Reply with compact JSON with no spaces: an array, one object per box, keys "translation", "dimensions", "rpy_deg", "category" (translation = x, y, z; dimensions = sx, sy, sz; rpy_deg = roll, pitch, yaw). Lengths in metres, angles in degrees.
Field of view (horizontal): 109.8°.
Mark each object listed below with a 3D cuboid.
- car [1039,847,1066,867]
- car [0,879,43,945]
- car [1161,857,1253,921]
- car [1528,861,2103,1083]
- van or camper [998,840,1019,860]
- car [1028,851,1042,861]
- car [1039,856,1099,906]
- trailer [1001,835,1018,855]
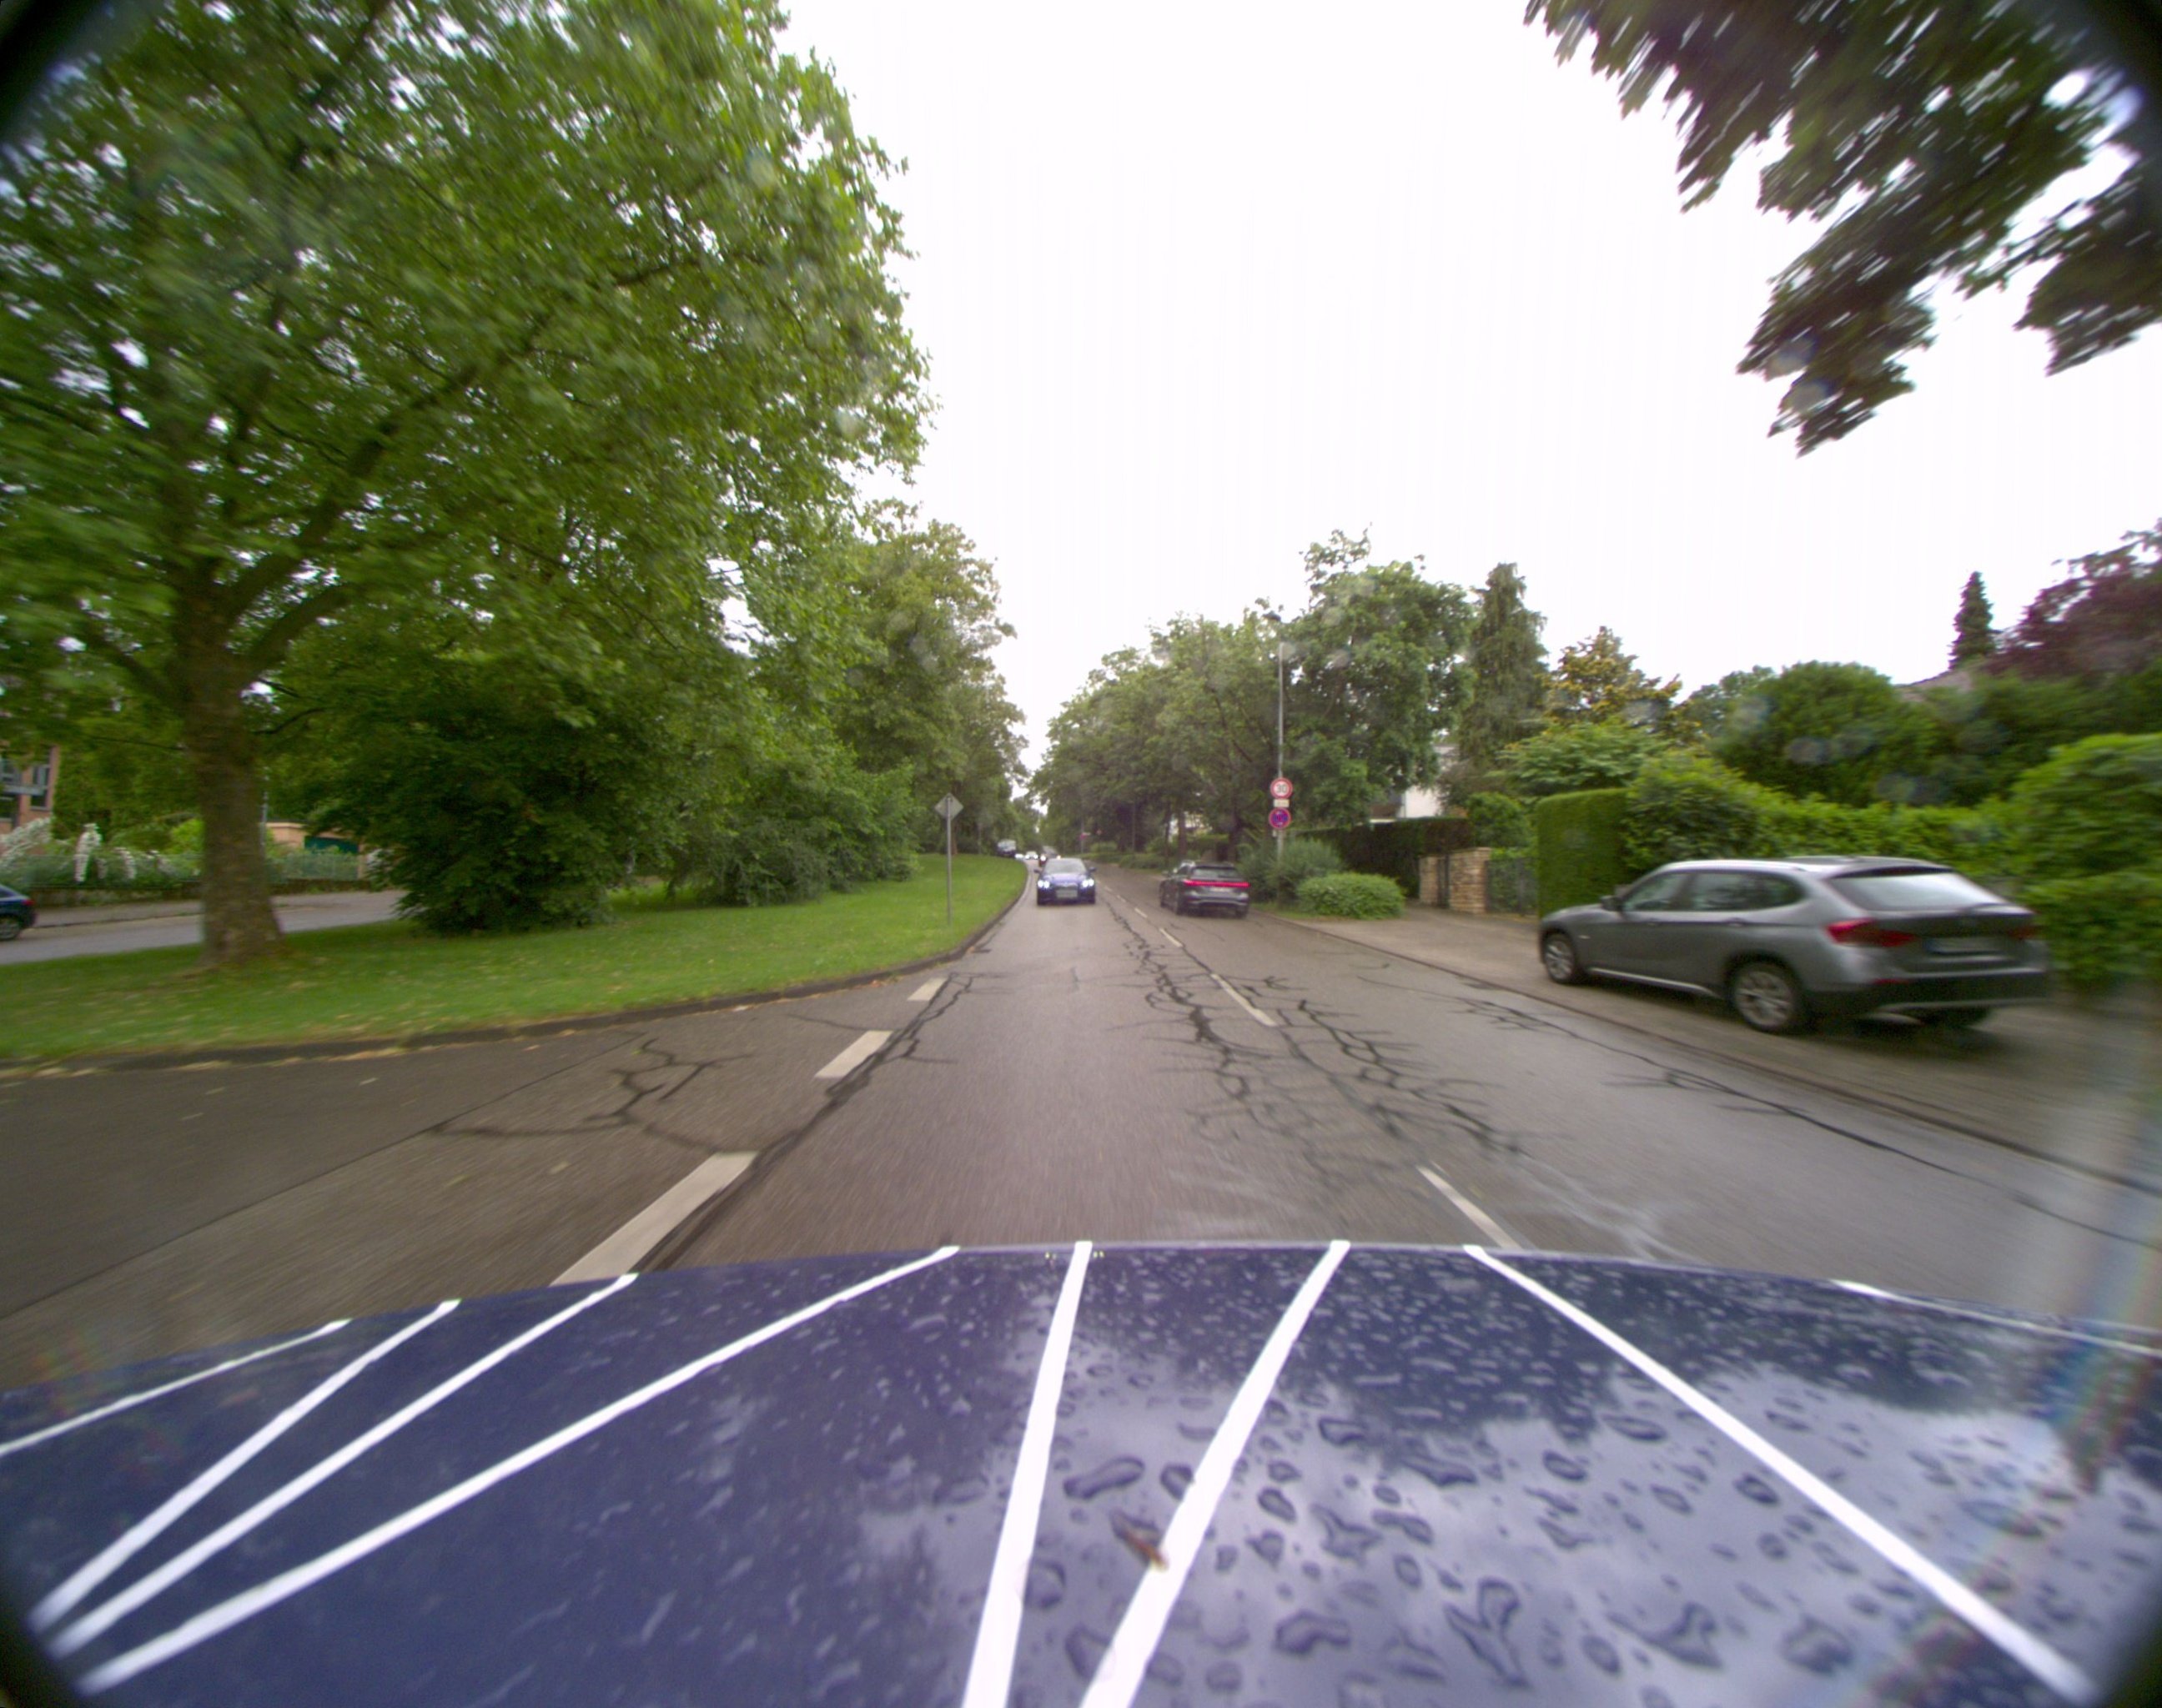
[{"translation":[-2.237,0.269,58.248],"dimensions":[1.797,1.458,4.508],"rpy_deg":[0,-2,-6],"category":"car"},{"translation":[-25.745,1.358,16.205],"dimensions":[1.648,1.471,4.062],"rpy_deg":[2,1,0],"category":"car"},{"translation":[3.338,0.867,20.894],"dimensions":[1.694,1.388,4.490],"rpy_deg":[3,1,0],"category":"car"},{"translation":[6.767,0.903,7.827],"dimensions":[1.668,1.533,4.283],"rpy_deg":[-3,0,-2],"category":"car"},{"translation":[-7.165,-0.387,75.460],"dimensions":[1.999,1.858,5.661],"rpy_deg":[1,1,-5],"category":"van or camper"},{"translation":[-7.089,0.322,117.073],"dimensions":[1.677,1.542,3.833],"rpy_deg":[1,-1,3],"category":"car"},{"translation":[-0.381,0.824,25.479],"dimensions":[1.796,1.459,4.509],"rpy_deg":[-2,0,-1],"category":"car"},{"translation":[-7.578,-0.988,80.421],"dimensions":[1.701,2.042,3.949],"rpy_deg":[0,1,-5],"category":"trailer"}]
